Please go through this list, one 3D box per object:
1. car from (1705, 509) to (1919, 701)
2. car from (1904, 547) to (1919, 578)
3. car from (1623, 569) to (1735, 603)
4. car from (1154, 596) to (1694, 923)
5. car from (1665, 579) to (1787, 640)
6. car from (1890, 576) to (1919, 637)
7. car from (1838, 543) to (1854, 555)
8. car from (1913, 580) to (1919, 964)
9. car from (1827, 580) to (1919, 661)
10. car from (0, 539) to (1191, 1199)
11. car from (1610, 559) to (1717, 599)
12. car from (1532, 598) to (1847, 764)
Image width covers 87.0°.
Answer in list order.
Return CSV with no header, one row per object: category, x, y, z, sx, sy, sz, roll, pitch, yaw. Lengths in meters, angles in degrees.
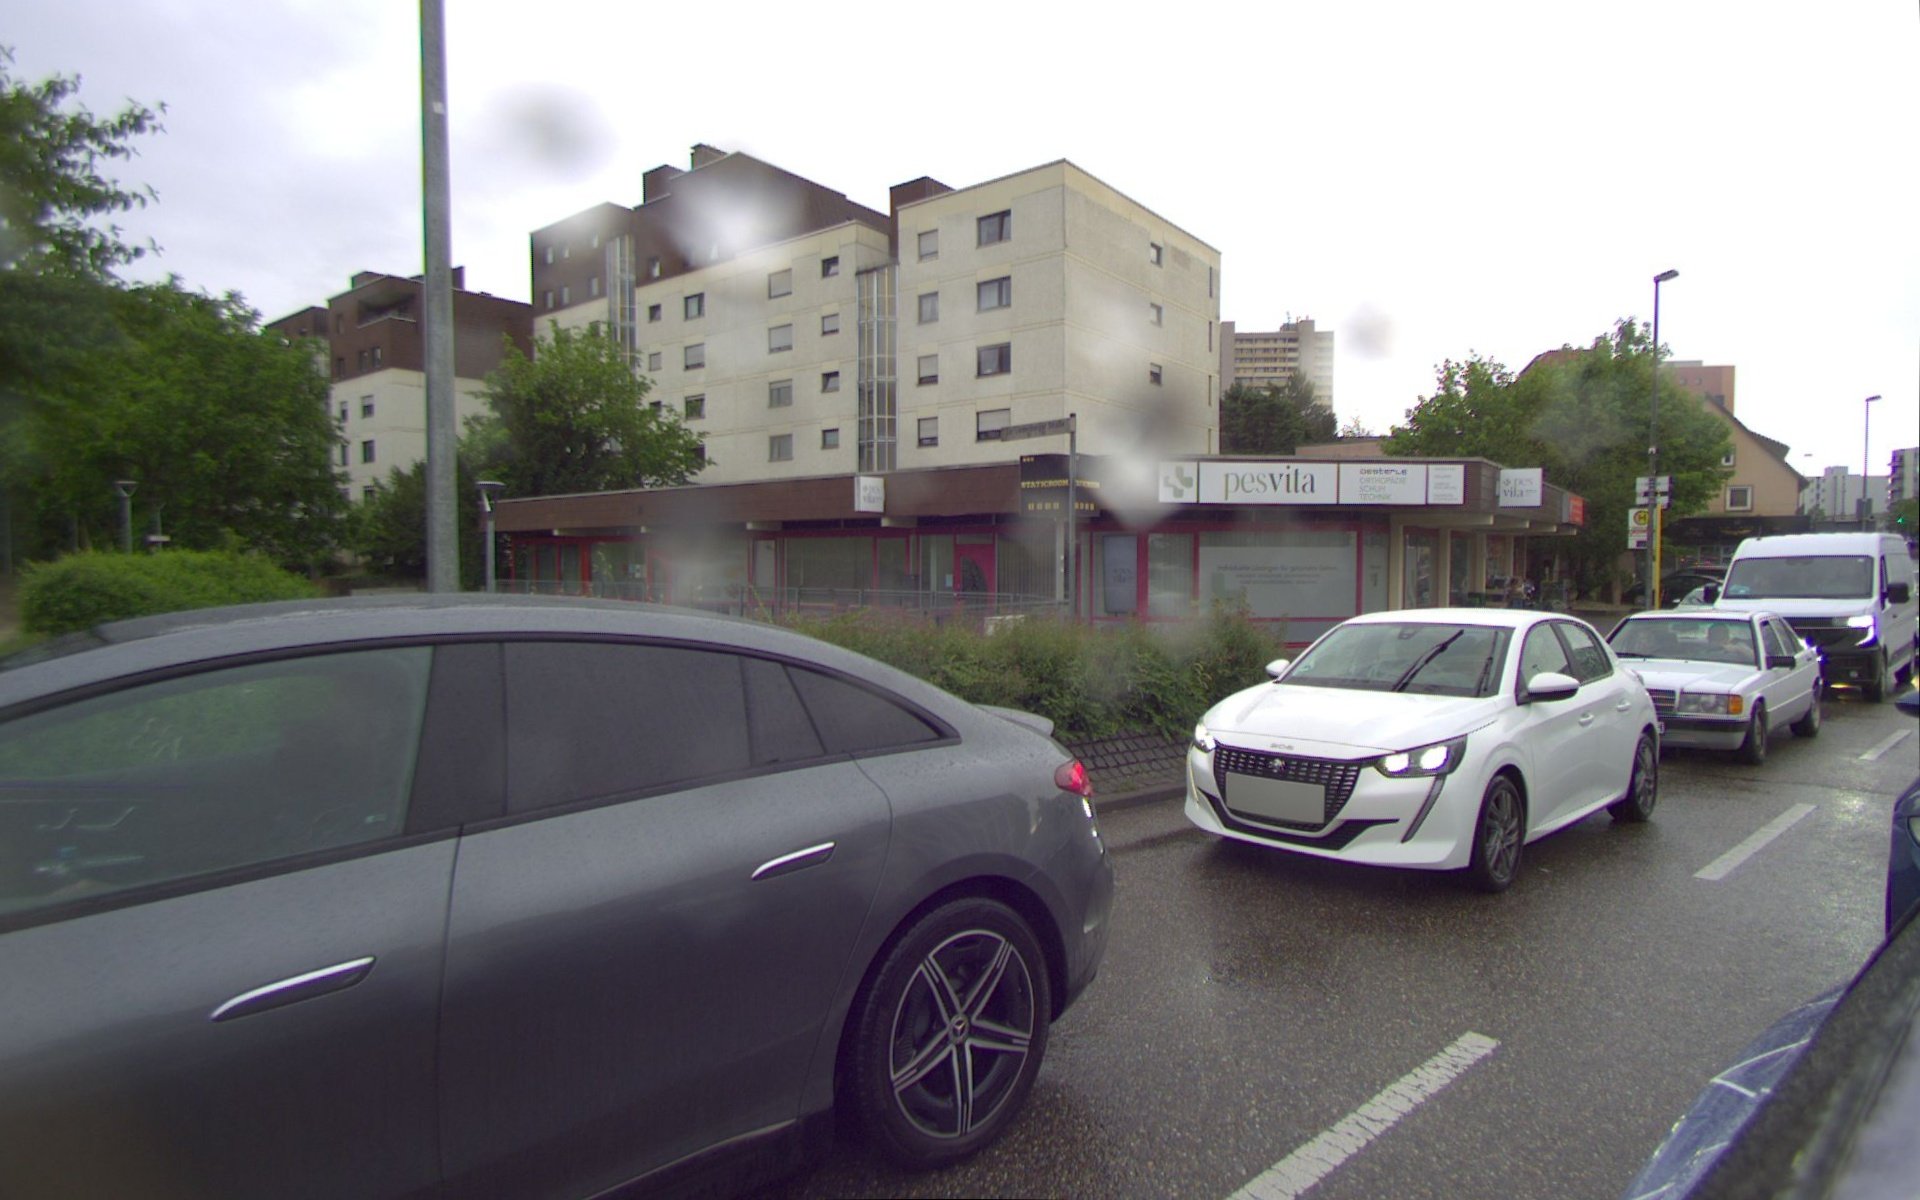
car,14.004,-0.009,16.320,6.021,2.549,2.194,-2,2,-43
car,57.070,-2.164,59.449,3.930,1.776,1.879,0,3,-41
car,32.126,-0.636,45.260,3.981,1.445,1.858,2,2,39
car,3.182,0.711,6.533,4.043,1.433,1.665,-1,1,-41
car,20.206,0.200,26.644,3.930,1.509,1.787,-1,1,-41
car,27.239,0.139,27.958,3.933,1.588,1.996,-2,1,-43
car,139.529,-8.023,159.402,1.657,1.654,3.754,1,1,37
car,5.504,0.621,4.439,3.933,1.406,1.690,-1,1,-43
car,20.017,0.366,21.540,3.930,1.558,1.802,-1,2,-41
car,-1.615,0.661,2.439,4.724,1.485,1.840,0,-1,-41
car,33.090,-1.017,47.644,3.981,1.801,1.858,2,2,39
car,7.778,0.684,10.644,4.089,1.362,1.787,-1,1,-41
